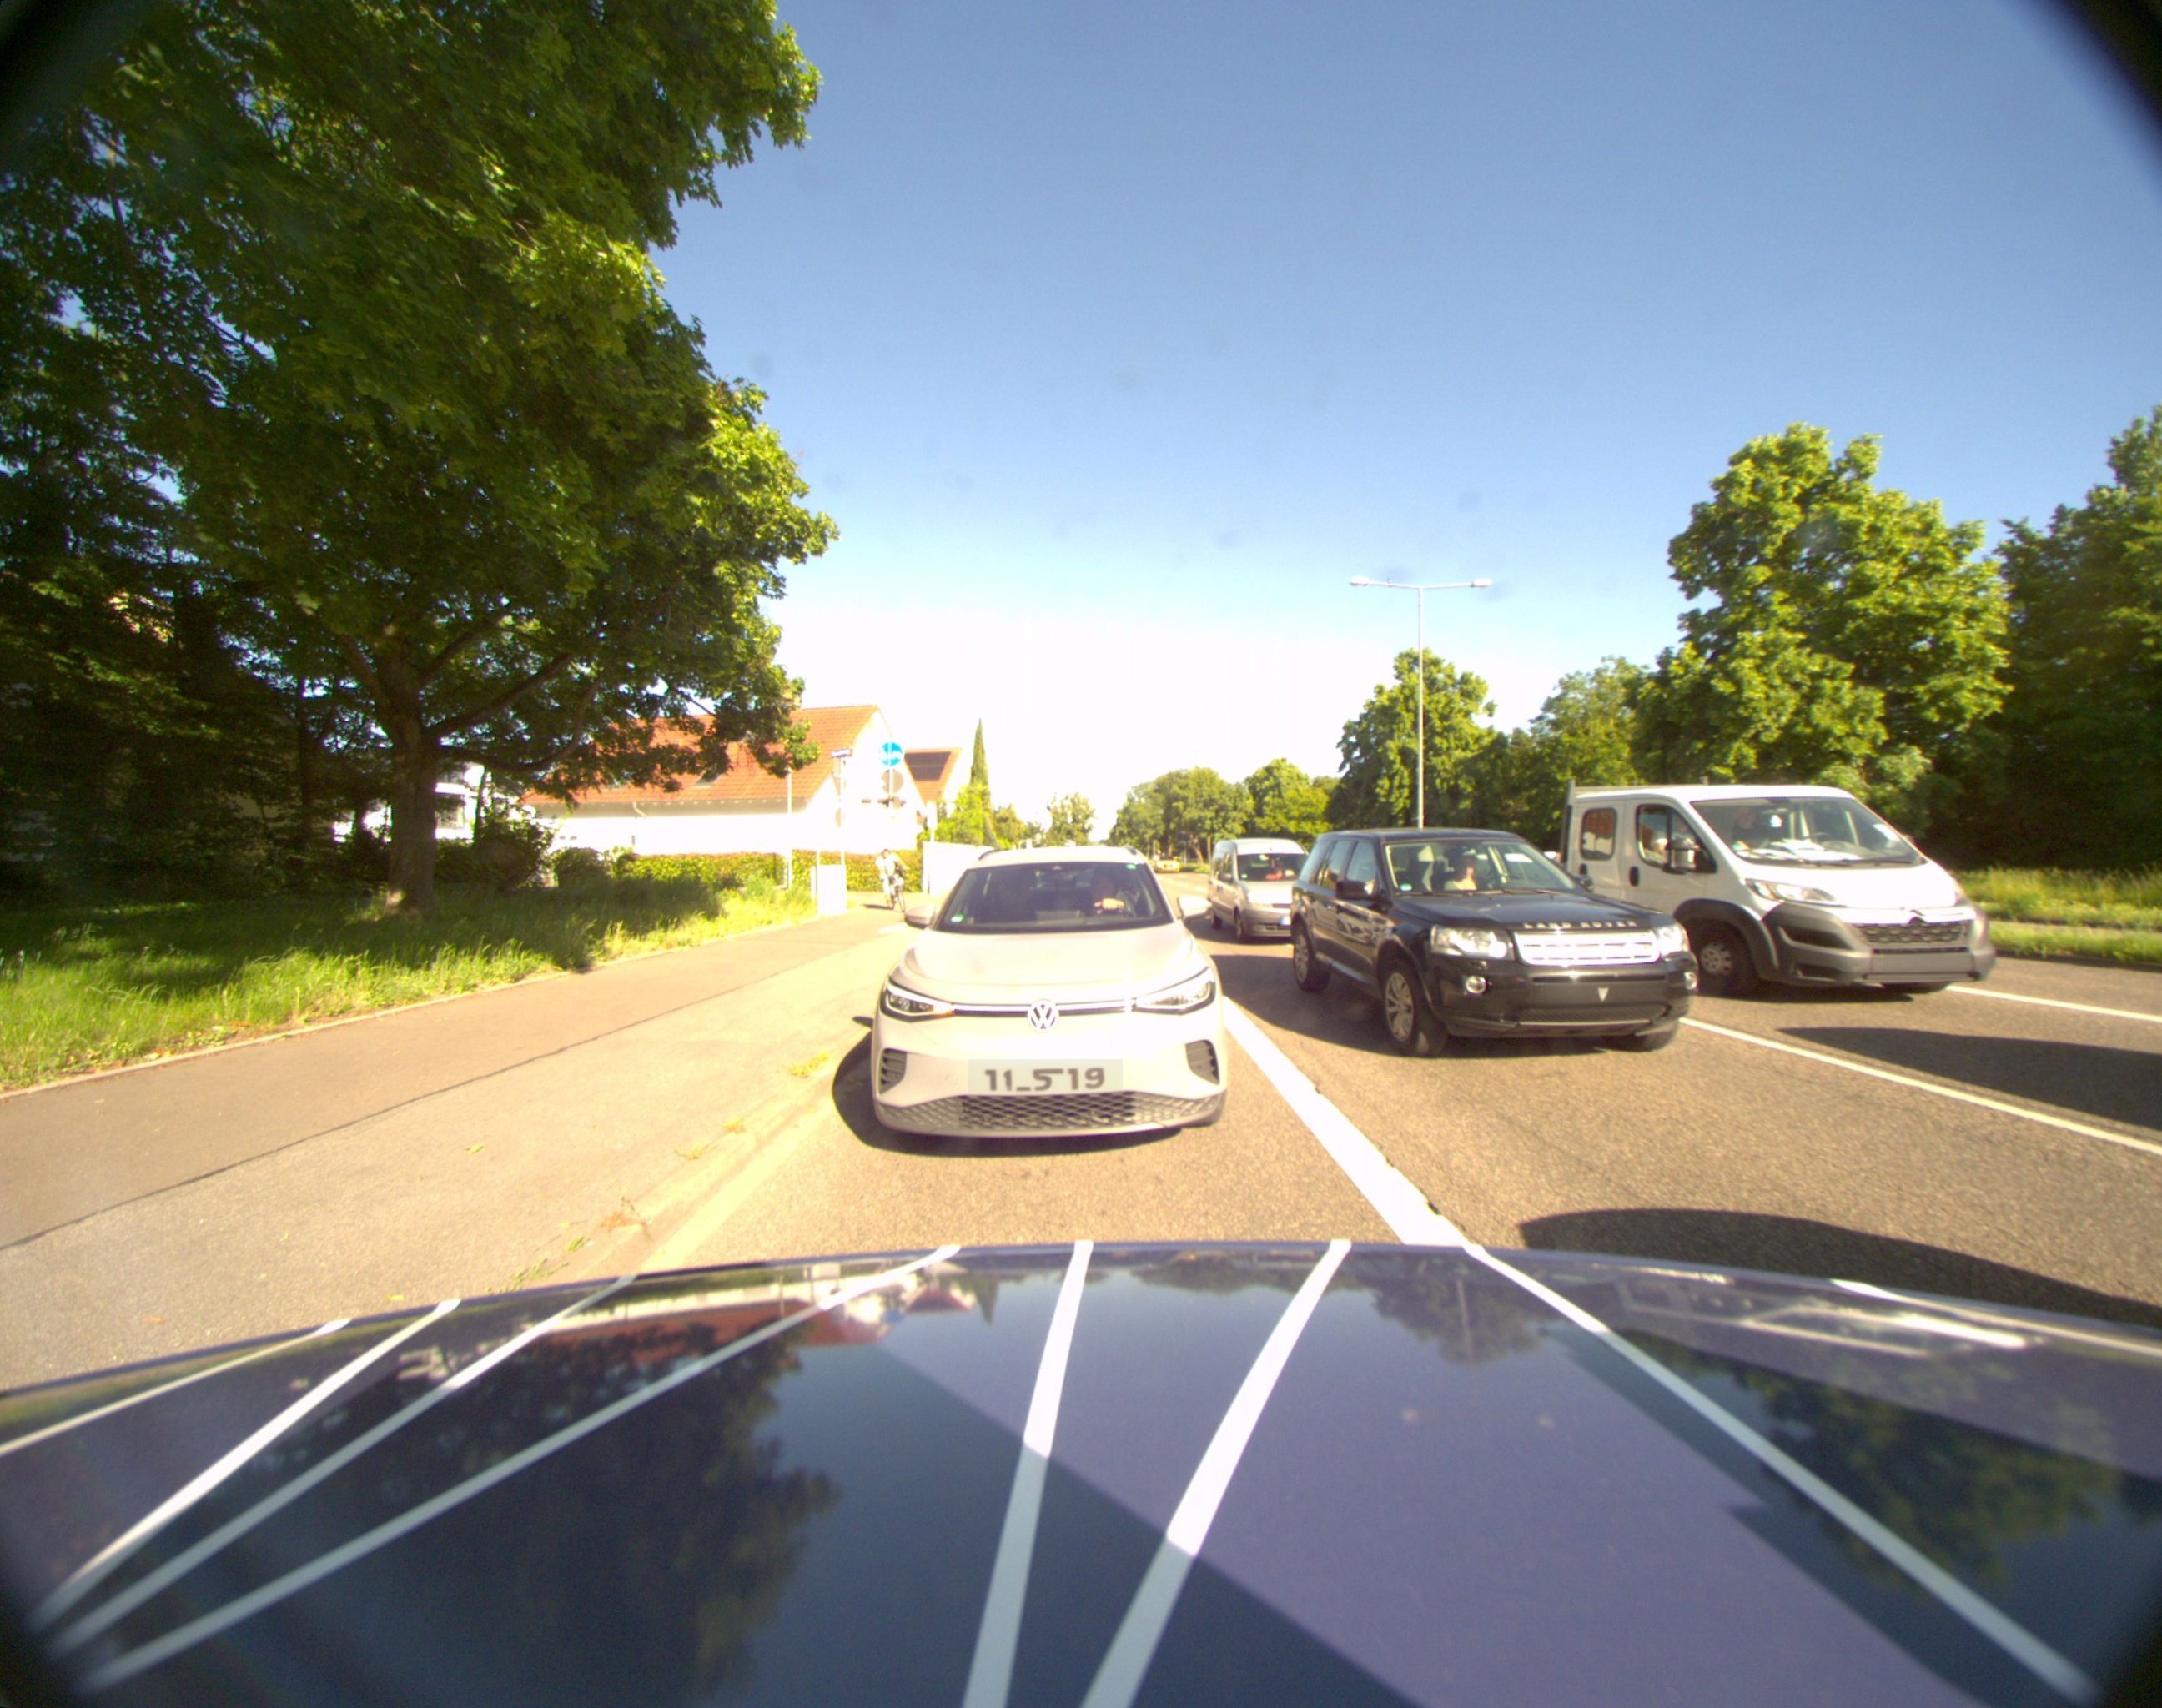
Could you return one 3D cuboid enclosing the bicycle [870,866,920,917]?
[{"bbox_3d":[-4.779,0.927,19.405,0.582,1.091,1.982,4,2,-32],"label":"bicycle"}]

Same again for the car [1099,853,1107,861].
[{"bbox_3d":[4.591,0.584,160.532,1.726,1.630,4.000,0,0,1],"label":"car"}]

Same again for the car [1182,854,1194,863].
[{"bbox_3d":[20.737,0.844,146.984,1.878,1.674,4.000,0,0,1],"label":"car"}]

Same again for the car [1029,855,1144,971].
[{"bbox_3d":[0.110,0.866,13.021,1.632,1.586,4.024,-2,1,1],"label":"car"}]

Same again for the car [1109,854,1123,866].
[{"bbox_3d":[4.739,0.796,103.050,1.630,1.466,3.931,-1,0,0],"label":"car"}]

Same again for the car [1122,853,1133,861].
[{"bbox_3d":[8.567,0.492,139.521,1.727,1.436,3.999,0,0,-1],"label":"car"}]

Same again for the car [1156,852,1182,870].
[{"bbox_3d":[7.397,0.597,64.146,1.704,1.466,3.931,-1,0,0],"label":"car"}]

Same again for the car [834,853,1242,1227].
[{"bbox_3d":[-0.169,0.849,5.578,1.858,1.679,4.206,0,1,1],"label":"car"}]

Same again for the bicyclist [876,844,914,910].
[{"bbox_3d":[-4.755,0.574,19.391,0.582,1.572,0.994,4,2,-32],"label":"bicyclist"}]

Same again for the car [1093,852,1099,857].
[{"bbox_3d":[4.384,0.121,226.664,1.726,1.630,4.000,0,0,1],"label":"car"}]

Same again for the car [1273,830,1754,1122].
[{"bbox_3d":[3.166,0.715,6.773,1.816,1.721,4.386,-2,1,1],"label":"car"}]

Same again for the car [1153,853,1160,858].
[{"bbox_3d":[21.096,0.480,212.052,1.792,1.409,4.000,0,0,1],"label":"car"}]

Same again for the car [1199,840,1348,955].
[{"bbox_3d":[3.326,0.653,13.968,1.632,1.741,4.386,-2,1,1],"label":"car"}]

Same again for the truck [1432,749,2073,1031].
[{"bbox_3d":[7.213,0.268,9.783,2.185,2.307,6.842,-2,1,0],"label":"truck"}]
